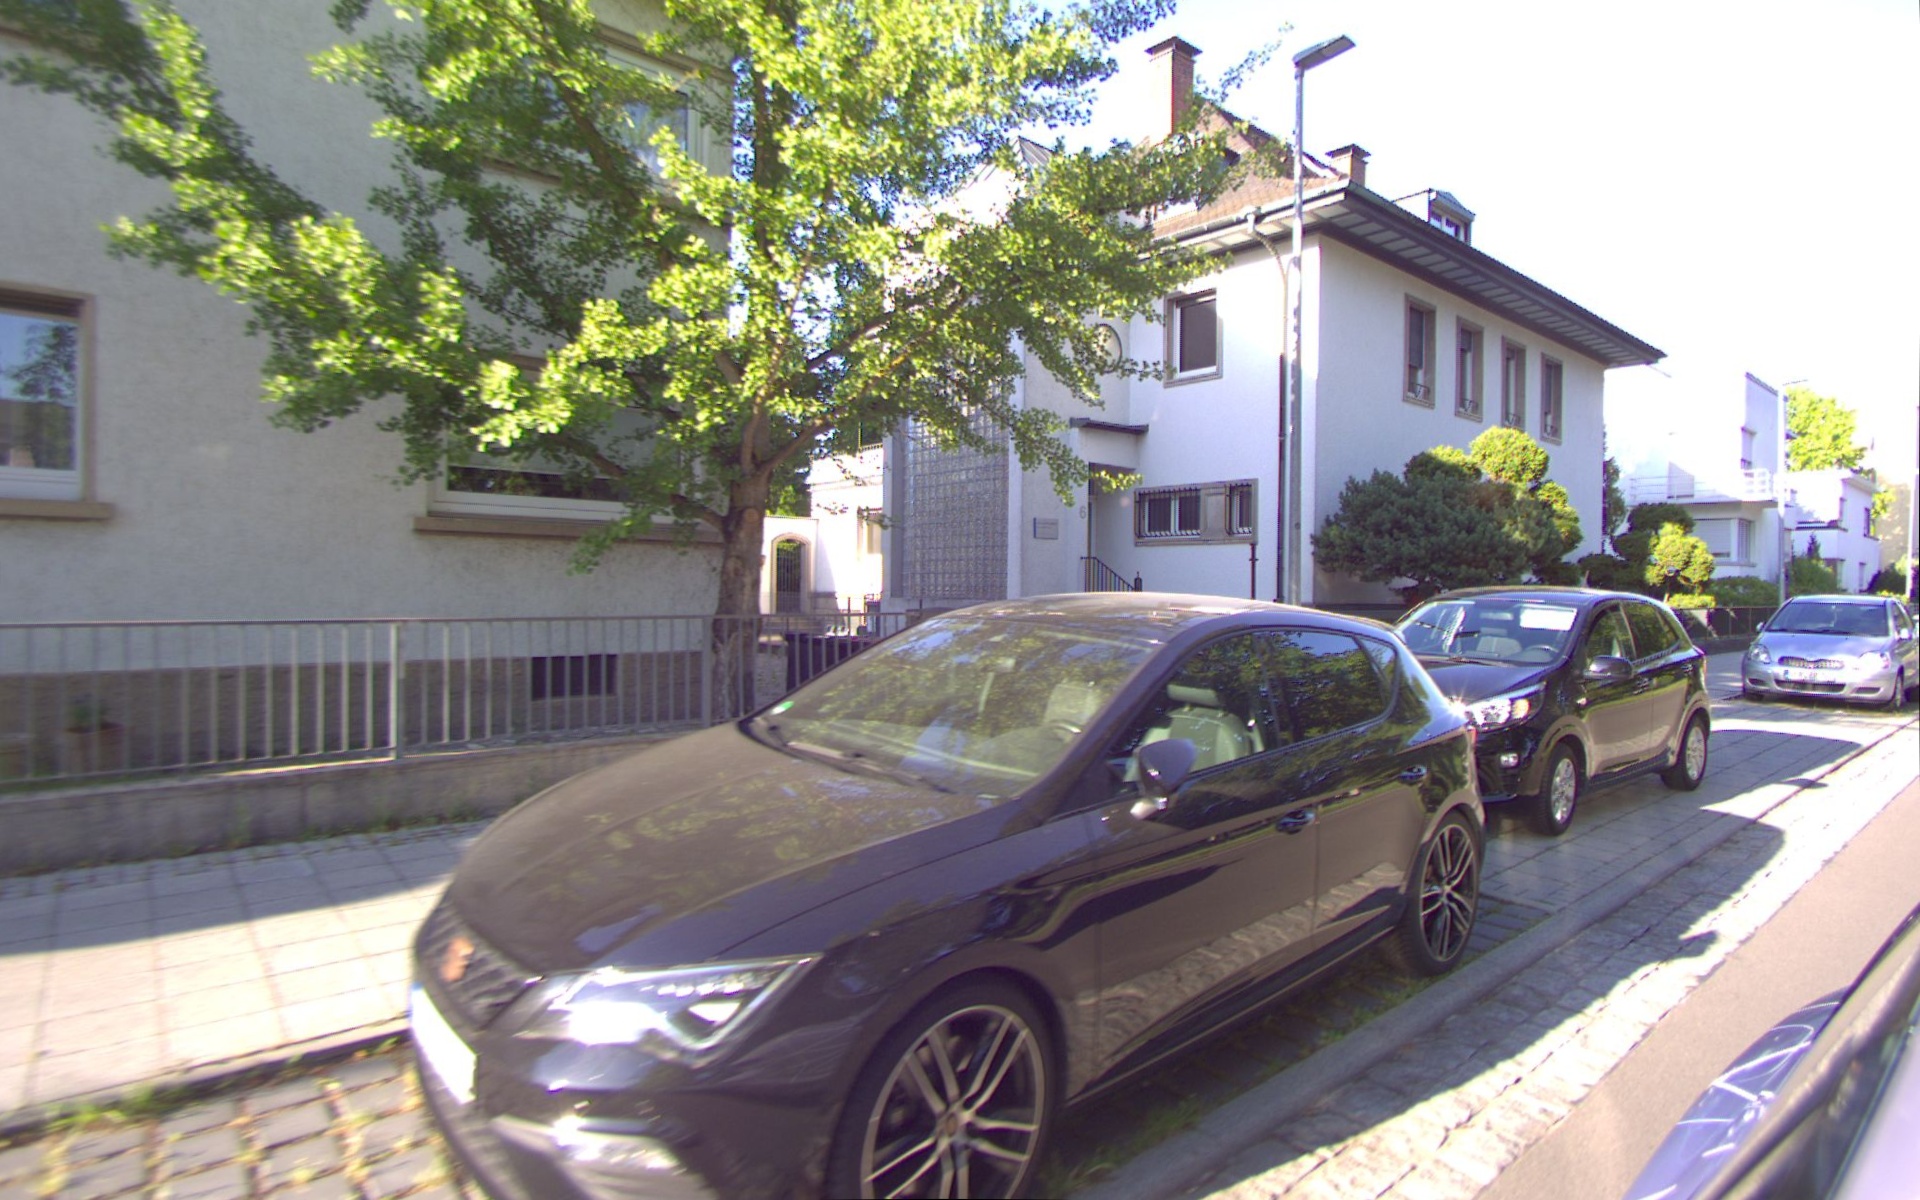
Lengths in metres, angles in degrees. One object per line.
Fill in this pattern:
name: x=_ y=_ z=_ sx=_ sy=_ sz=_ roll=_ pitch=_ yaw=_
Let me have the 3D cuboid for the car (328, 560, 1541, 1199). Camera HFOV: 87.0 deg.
car: x=0.334 y=0.644 z=3.566 sx=4.125 sy=1.466 sz=1.740 roll=-1 pitch=3 yaw=-42

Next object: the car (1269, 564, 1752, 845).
car: x=4.067 y=0.542 z=7.292 sx=3.647 sy=1.512 sz=1.663 roll=0 pitch=3 yaw=-37

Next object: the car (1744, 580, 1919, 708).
car: x=12.580 y=0.552 z=14.280 sx=3.568 sy=1.523 sz=1.632 roll=1 pitch=2 yaw=-40
